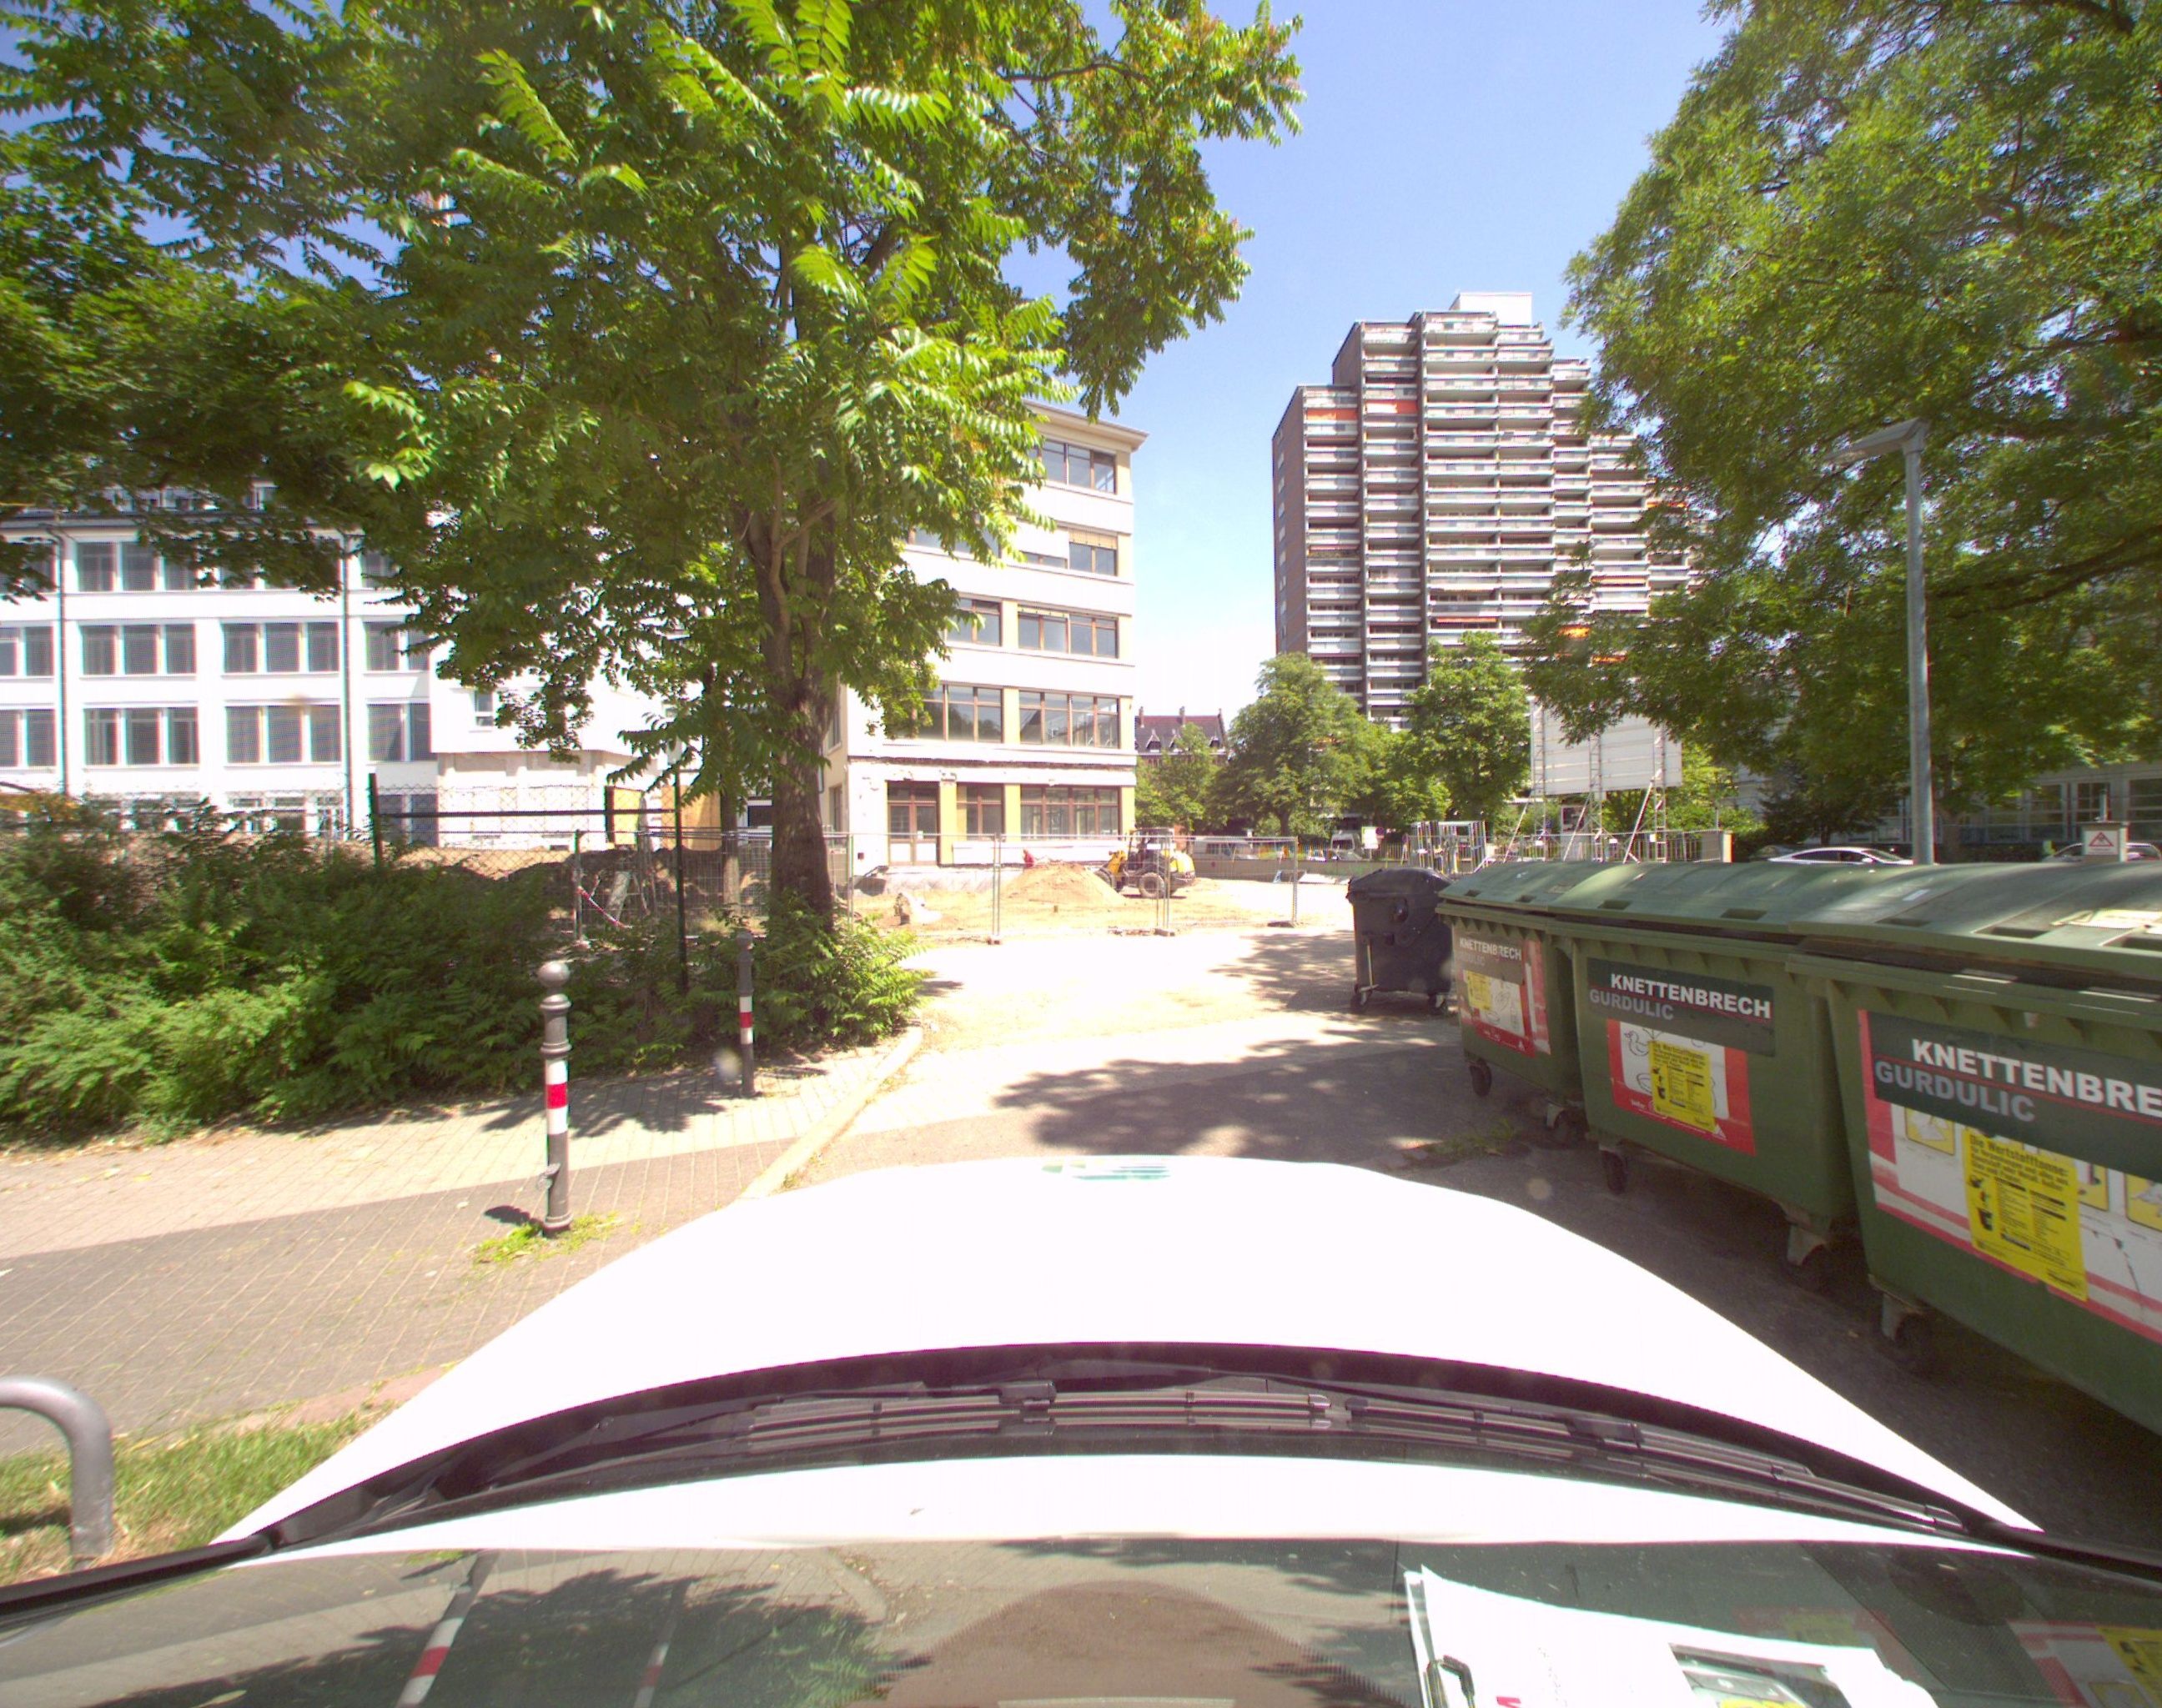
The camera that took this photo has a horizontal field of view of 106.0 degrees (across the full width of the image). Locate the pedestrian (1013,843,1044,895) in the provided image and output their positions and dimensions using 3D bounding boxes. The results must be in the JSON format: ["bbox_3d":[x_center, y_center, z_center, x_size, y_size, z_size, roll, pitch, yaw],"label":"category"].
[{"bbox_3d":[-1.940,0.541,29.979,0.909,1.847,0.989,-1,0,9],"label":"pedestrian"}]

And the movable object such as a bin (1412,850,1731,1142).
[{"bbox_3d":[2.755,0.722,4.808,1.071,1.458,1.378,-1,0,2],"label":"movable object such as a bin"}]

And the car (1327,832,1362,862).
[{"bbox_3d":[21.172,-0.559,65.232,2.165,2.258,4.896,-1,0,23],"label":"car"}]

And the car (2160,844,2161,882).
[{"bbox_3d":[40.172,0.332,28.174,1.650,1.415,3.730,-1,0,20],"label":"car"}]

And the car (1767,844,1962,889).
[{"bbox_3d":[27.323,0.412,28.623,1.677,1.437,4.645,-1,0,-27],"label":"car"}]

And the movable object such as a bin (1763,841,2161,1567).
[{"bbox_3d":[2.714,0.698,1.913,1.071,1.458,1.378,-1,0,2],"label":"movable object such as a bin"}]

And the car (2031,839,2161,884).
[{"bbox_3d":[38.987,0.278,31.183,1.651,1.589,3.709,-1,0,17],"label":"car"}]

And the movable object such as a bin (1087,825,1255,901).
[{"bbox_3d":[3.176,0.247,28.685,5.353,2.464,2.382,1,0,26],"label":"movable object such as a bin"}]

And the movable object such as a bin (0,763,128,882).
[{"bbox_3d":[-40.580,-1.145,31.383,5.677,4.372,2.003,-1,0,5],"label":"movable object such as a bin"}]

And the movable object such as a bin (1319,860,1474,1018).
[{"bbox_3d":[3.156,0.800,8.309,1.071,1.458,1.378,-1,0,2],"label":"movable object such as a bin"}]

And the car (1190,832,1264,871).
[{"bbox_3d":[9.479,-0.117,53.473,2.005,2.416,5.196,-1,0,-27],"label":"car"}]

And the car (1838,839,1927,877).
[{"bbox_3d":[36.060,0.162,36.766,1.992,1.629,3.955,-1,0,32],"label":"car"}]

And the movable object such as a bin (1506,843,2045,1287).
[{"bbox_3d":[2.652,0.704,3.388,1.071,1.458,1.378,-1,0,2],"label":"movable object such as a bin"}]
